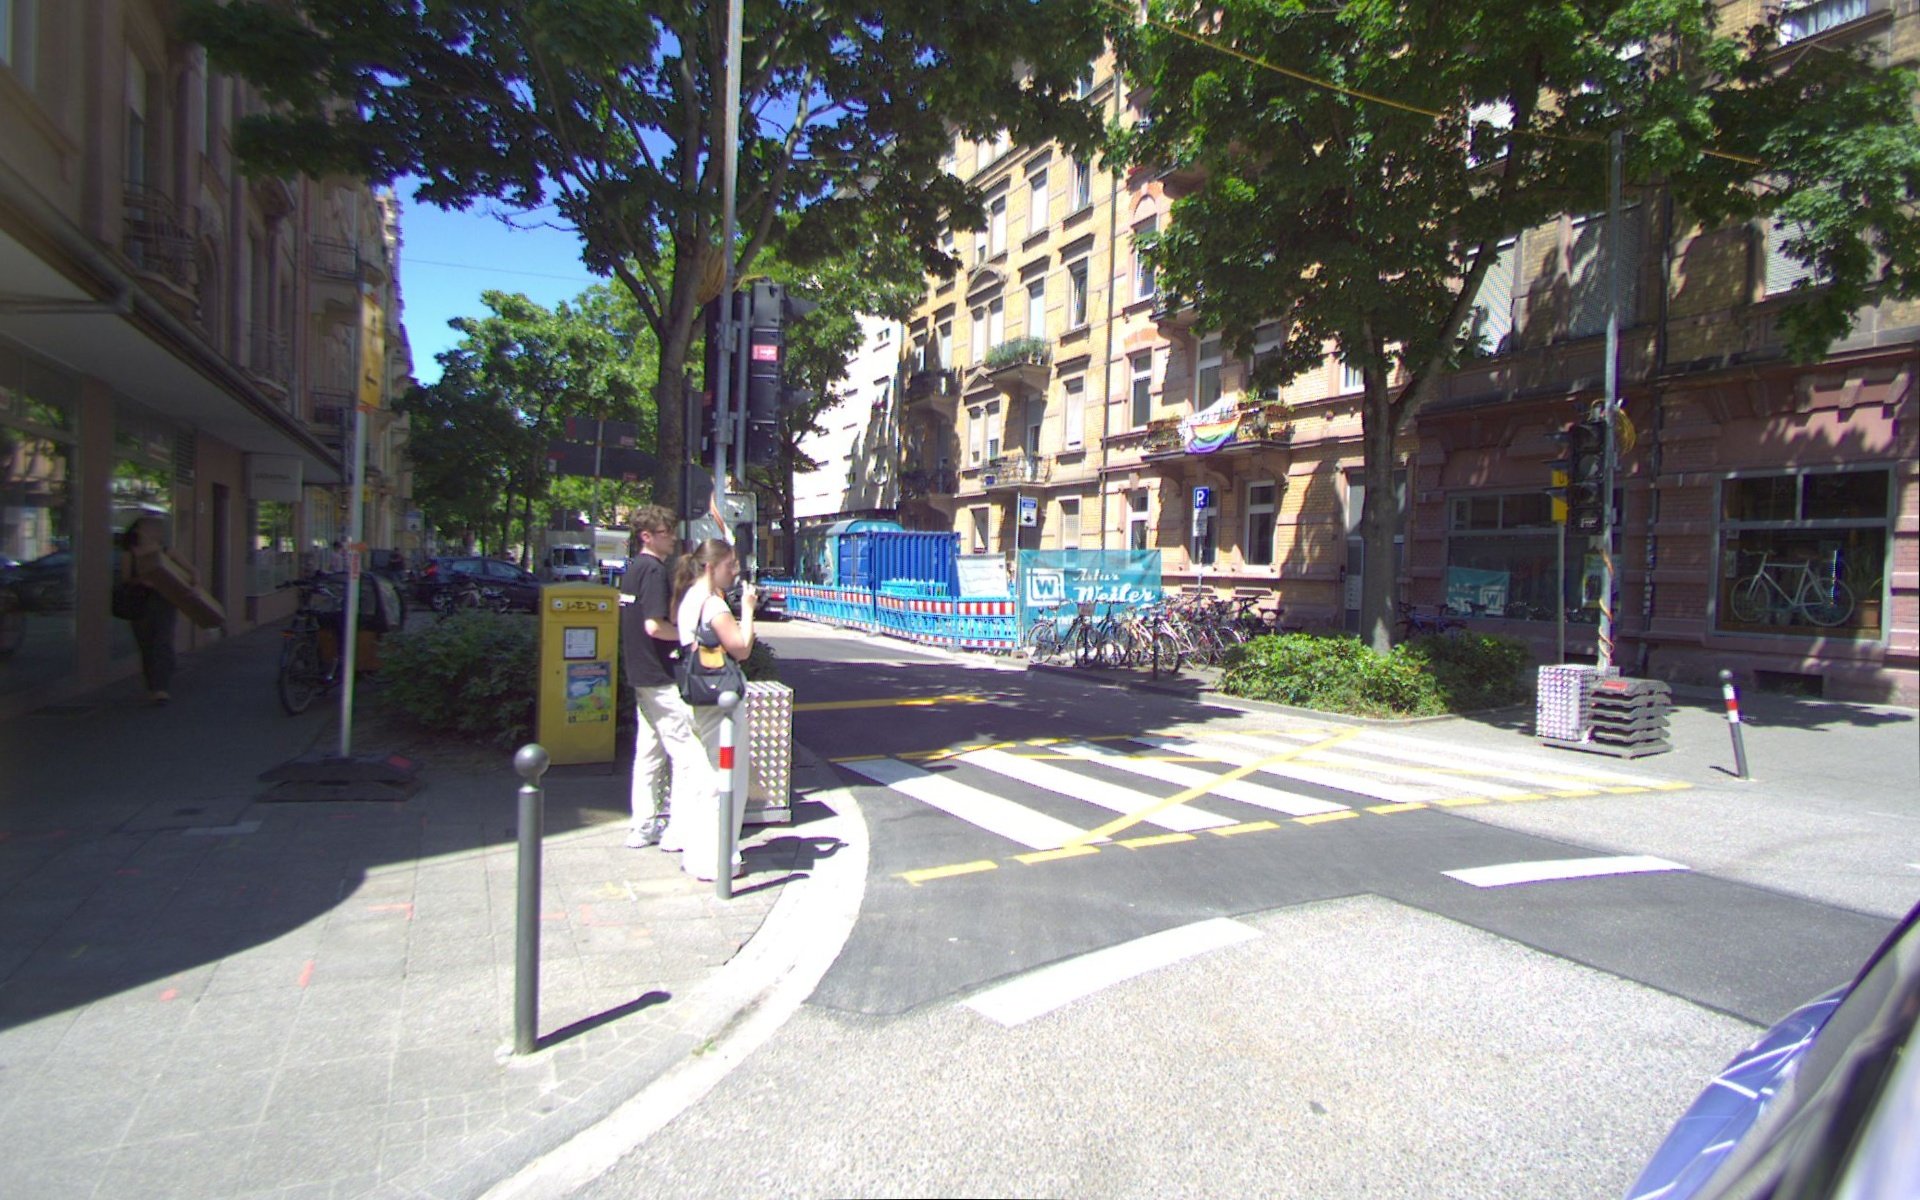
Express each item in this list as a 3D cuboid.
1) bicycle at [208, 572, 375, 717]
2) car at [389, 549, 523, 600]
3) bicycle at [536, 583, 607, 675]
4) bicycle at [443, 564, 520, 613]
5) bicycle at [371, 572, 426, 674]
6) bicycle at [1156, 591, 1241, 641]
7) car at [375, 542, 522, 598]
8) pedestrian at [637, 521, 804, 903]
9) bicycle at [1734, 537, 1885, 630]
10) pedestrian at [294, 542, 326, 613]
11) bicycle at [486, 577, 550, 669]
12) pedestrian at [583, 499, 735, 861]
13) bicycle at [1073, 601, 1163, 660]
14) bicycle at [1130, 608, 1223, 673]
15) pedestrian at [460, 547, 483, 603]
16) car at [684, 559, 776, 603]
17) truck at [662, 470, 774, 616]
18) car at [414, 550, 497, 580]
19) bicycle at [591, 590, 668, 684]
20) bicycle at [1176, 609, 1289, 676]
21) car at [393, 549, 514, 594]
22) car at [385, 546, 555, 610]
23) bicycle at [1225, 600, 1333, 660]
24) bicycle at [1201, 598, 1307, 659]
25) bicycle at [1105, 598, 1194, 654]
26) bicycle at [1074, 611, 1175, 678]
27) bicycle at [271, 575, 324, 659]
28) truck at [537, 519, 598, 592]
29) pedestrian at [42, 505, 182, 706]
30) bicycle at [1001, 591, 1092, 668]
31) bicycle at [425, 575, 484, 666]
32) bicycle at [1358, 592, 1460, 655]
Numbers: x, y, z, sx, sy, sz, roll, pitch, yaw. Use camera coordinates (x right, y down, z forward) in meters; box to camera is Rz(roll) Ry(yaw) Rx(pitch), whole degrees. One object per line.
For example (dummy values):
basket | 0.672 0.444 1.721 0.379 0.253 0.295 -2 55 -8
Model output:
bicycle | -5.995 0.341 9.199 0.506 1.146 1.991 2 2 -10
car | -16.445 -0.821 33.016 3.776 1.456 1.795 2 2 -30
bicycle | -4.869 0.329 12.623 0.461 1.009 1.768 3 1 -31
bicycle | -11.264 -0.284 23.823 1.918 1.058 0.539 3 2 25
bicycle | -6.762 0.249 12.160 0.461 1.094 1.768 3 1 -31
bicycle | 4.806 0.305 20.529 0.498 0.882 2.079 1 2 -24
car | -15.233 -0.889 30.178 3.776 1.456 1.795 2 2 -30
pedestrian | -1.153 0.482 4.816 0.415 1.666 0.704 5 -1 -36
bicycle | 11.299 -0.232 13.511 0.499 1.166 1.429 1 2 -25
pedestrian | -15.255 -0.532 23.762 0.547 1.634 0.493 1 2 -23
bicycle | -5.545 0.257 12.645 0.461 1.018 1.691 3 1 -31
pedestrian | -1.600 0.388 5.353 0.462 1.790 0.577 5 1 -36
bicycle | 2.774 0.515 18.012 0.498 0.882 2.079 1 2 -24
bicycle | 3.432 0.622 16.191 0.498 0.882 1.749 1 2 -24
pedestrian | -14.110 -0.731 29.217 0.533 1.602 0.479 1 2 -30
car | -10.368 -0.857 45.612 3.714 1.894 1.776 1 2 -25
truck | -7.350 -1.659 30.360 2.241 4.003 4.486 1 2 -27
car | -27.055 -1.877 54.291 3.853 1.482 1.620 1 2 -31
bicycle | -4.082 0.428 12.423 0.461 1.009 1.768 3 1 -31
bicycle | 4.272 0.647 16.056 0.498 0.882 2.079 1 2 -24
car | -18.379 -1.035 36.739 3.776 1.456 1.795 2 2 -30
car | -12.648 -0.554 26.145 3.776 1.456 1.795 2 2 -30
bicycle | 5.482 0.486 17.546 0.498 0.882 2.079 1 2 -24
bicycle | 4.981 0.465 17.311 0.498 0.882 2.079 1 2 -24
bicycle | 3.457 0.463 18.665 0.498 0.882 2.079 1 2 -24
bicycle | 2.587 0.685 16.167 0.498 0.882 2.079 1 2 -24
bicycle | -8.919 0.203 13.656 0.494 1.009 1.731 3 1 -31
truck | -16.578 -1.869 42.669 1.959 2.892 4.277 1 2 -26
pedestrian | -7.420 0.029 8.901 0.771 1.654 0.860 1 2 -29
bicycle | 1.415 0.459 16.862 0.499 1.120 1.786 -1 3 -34
bicycle | -6.341 0.228 12.656 0.461 1.009 1.768 3 1 -31
bicycle | 8.112 0.400 18.353 0.512 1.020 1.700 1 2 -27
